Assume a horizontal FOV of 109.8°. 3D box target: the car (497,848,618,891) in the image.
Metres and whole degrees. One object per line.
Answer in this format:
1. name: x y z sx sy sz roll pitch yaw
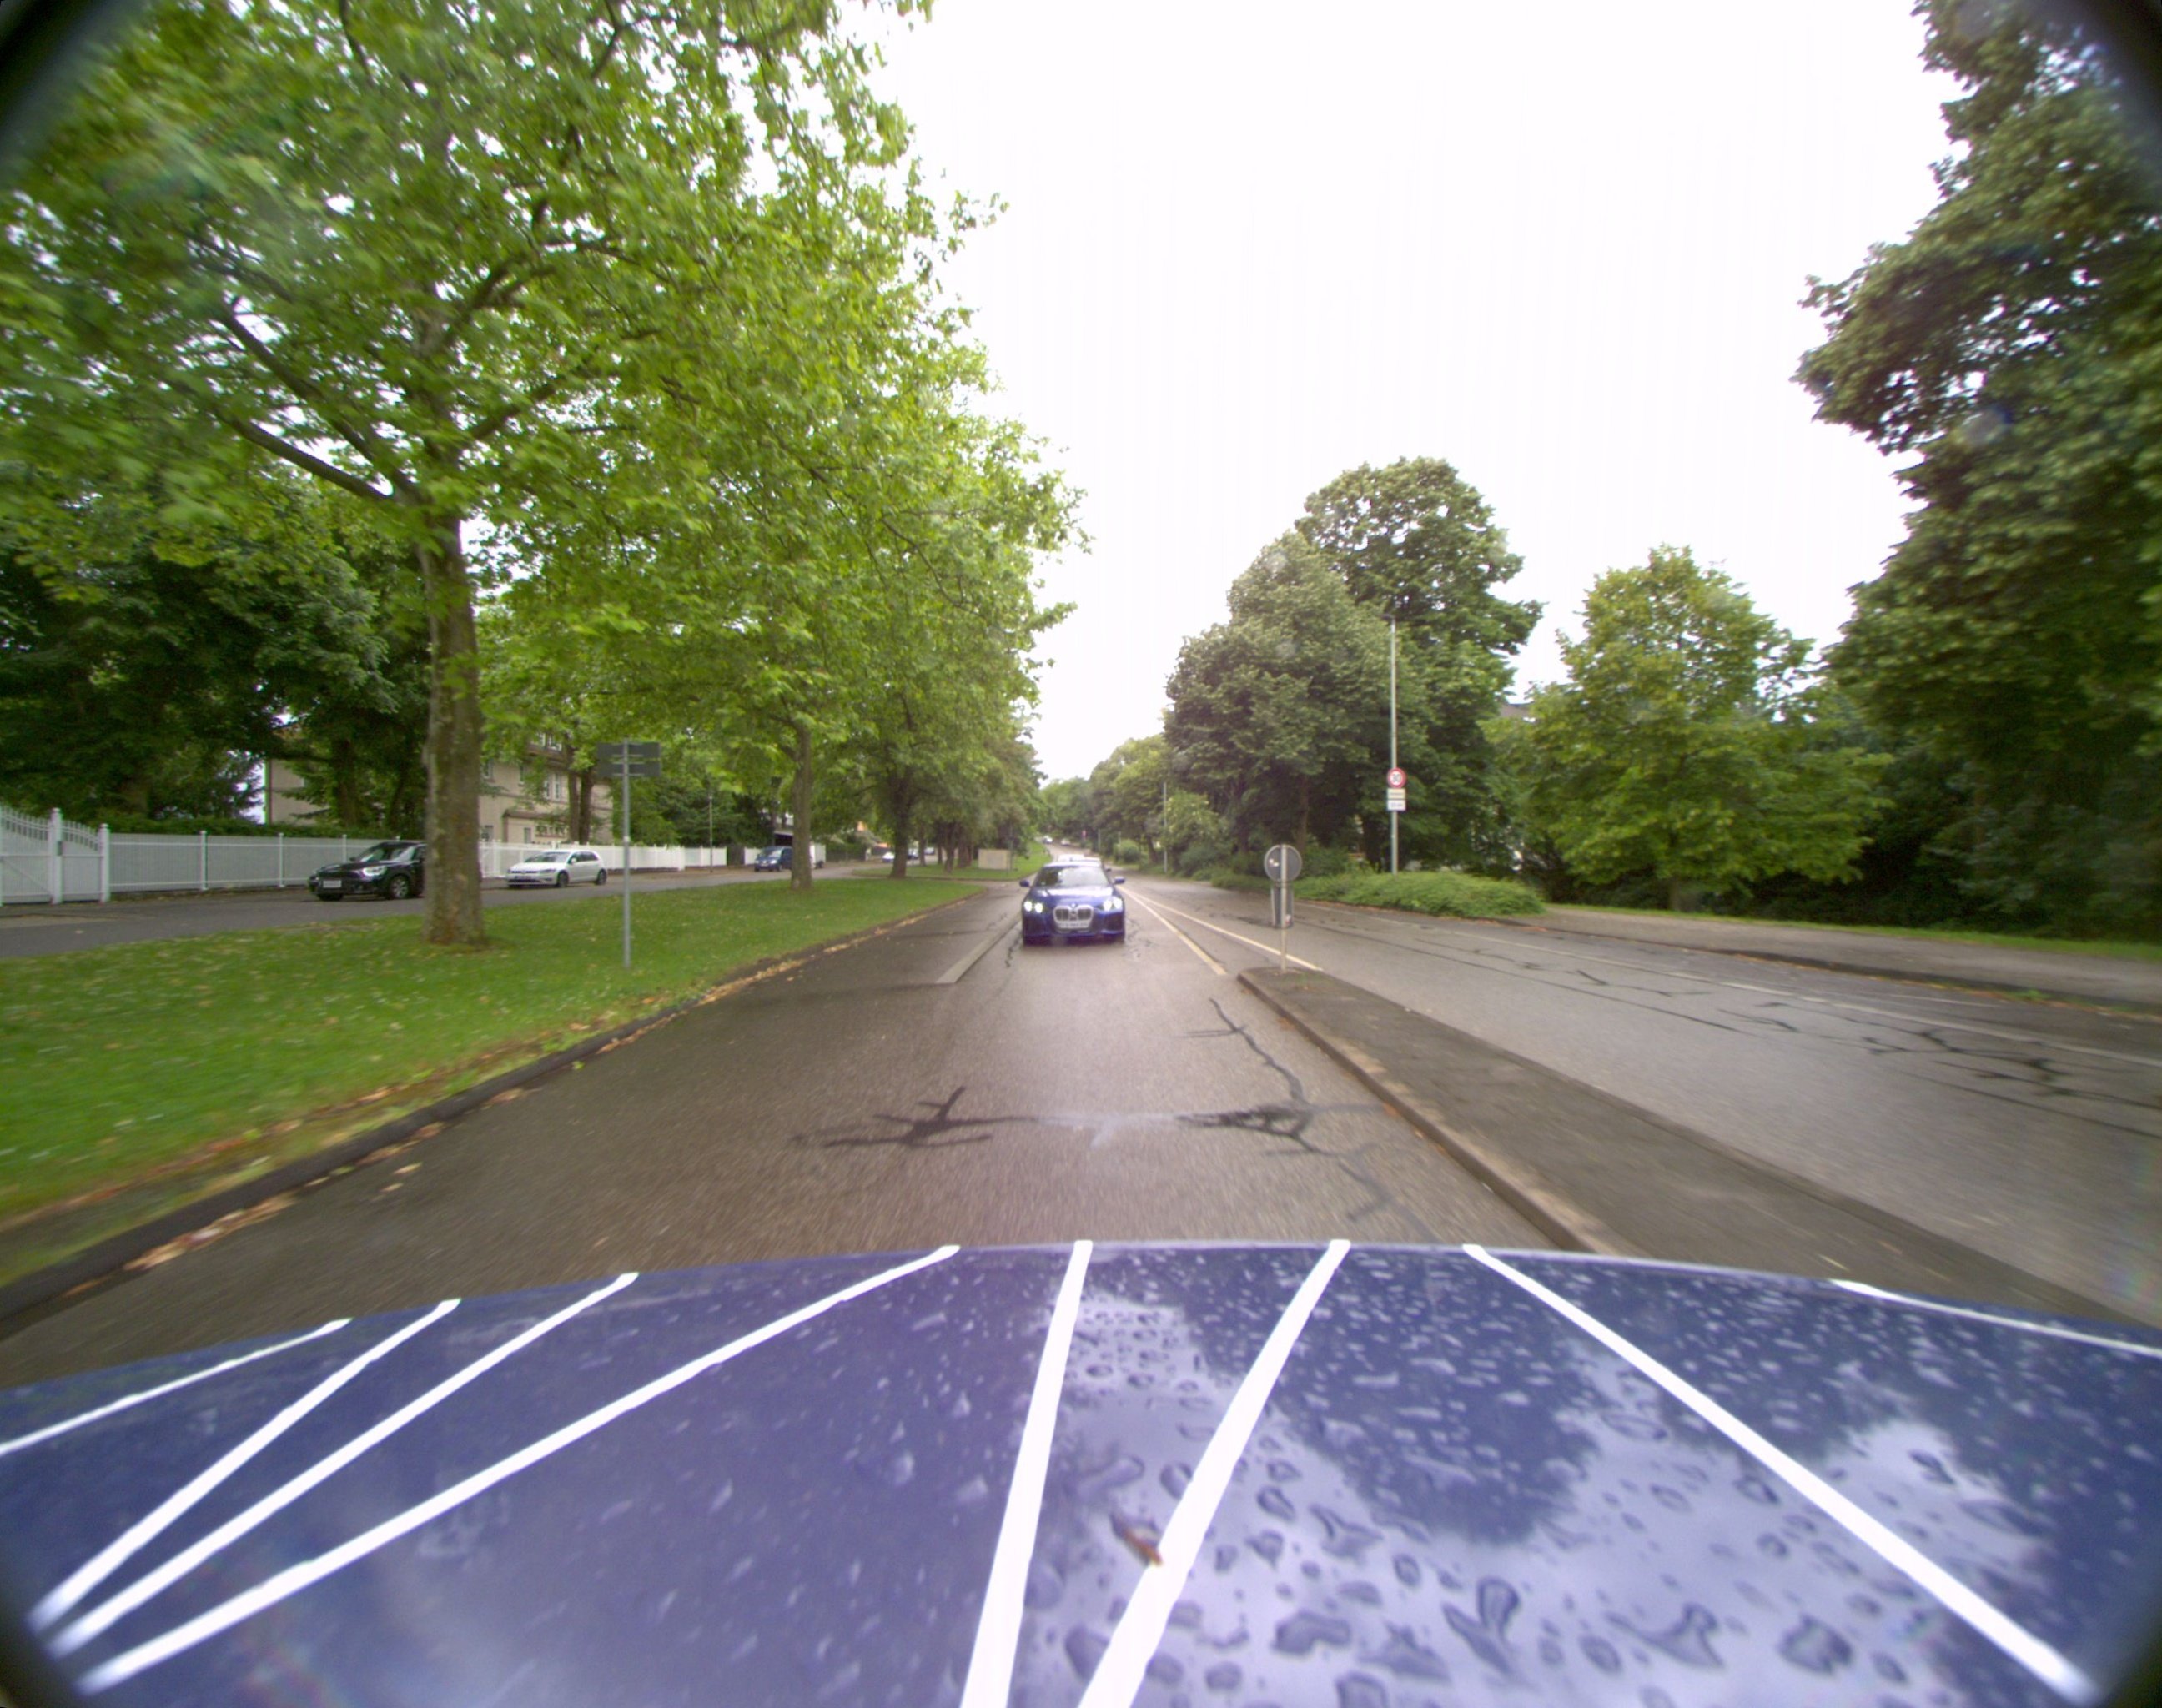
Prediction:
1. car: -19.919 0.548 29.150 1.999 1.440 4.122 -2 1 -5

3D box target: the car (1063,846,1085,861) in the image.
1. car: -0.700 -0.060 78.913 1.825 1.471 4.068 -2 1 6

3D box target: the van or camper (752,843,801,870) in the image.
1. van or camper: -21.939 0.145 54.877 2.000 1.798 4.772 -2 1 -6

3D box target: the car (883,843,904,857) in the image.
1. car: -26.290 -0.569 106.561 1.999 2.002 3.999 0 1 -2

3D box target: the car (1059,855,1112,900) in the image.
1. car: 0.105 0.851 29.496 1.826 1.471 4.066 -2 1 -2

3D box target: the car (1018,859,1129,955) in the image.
1. car: -0.185 0.909 14.836 1.826 1.471 4.066 -2 1 -2

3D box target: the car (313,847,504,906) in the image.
1. car: -19.072 0.561 21.850 1.999 1.462 4.122 -2 1 -5

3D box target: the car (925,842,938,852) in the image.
1. car: -30.421 -1.336 154.414 1.999 2.002 3.998 0 1 -4

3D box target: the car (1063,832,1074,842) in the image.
1. car: -2.934 -3.866 175.361 2.000 2.001 4.572 0 -2 -7

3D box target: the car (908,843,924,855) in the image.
1. car: -28.386 -0.906 130.764 1.999 2.002 3.998 0 1 -4

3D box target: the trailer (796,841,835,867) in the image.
1. trailer: -22.547 -0.034 64.772 1.771 2.104 5.190 -2 1 -4

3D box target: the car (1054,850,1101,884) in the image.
1. car: -0.223 0.568 36.186 2.032 1.471 4.066 -2 1 -2

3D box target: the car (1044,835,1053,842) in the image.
1. car: -7.807 -3.775 184.015 1.825 1.471 4.068 -2 1 4
